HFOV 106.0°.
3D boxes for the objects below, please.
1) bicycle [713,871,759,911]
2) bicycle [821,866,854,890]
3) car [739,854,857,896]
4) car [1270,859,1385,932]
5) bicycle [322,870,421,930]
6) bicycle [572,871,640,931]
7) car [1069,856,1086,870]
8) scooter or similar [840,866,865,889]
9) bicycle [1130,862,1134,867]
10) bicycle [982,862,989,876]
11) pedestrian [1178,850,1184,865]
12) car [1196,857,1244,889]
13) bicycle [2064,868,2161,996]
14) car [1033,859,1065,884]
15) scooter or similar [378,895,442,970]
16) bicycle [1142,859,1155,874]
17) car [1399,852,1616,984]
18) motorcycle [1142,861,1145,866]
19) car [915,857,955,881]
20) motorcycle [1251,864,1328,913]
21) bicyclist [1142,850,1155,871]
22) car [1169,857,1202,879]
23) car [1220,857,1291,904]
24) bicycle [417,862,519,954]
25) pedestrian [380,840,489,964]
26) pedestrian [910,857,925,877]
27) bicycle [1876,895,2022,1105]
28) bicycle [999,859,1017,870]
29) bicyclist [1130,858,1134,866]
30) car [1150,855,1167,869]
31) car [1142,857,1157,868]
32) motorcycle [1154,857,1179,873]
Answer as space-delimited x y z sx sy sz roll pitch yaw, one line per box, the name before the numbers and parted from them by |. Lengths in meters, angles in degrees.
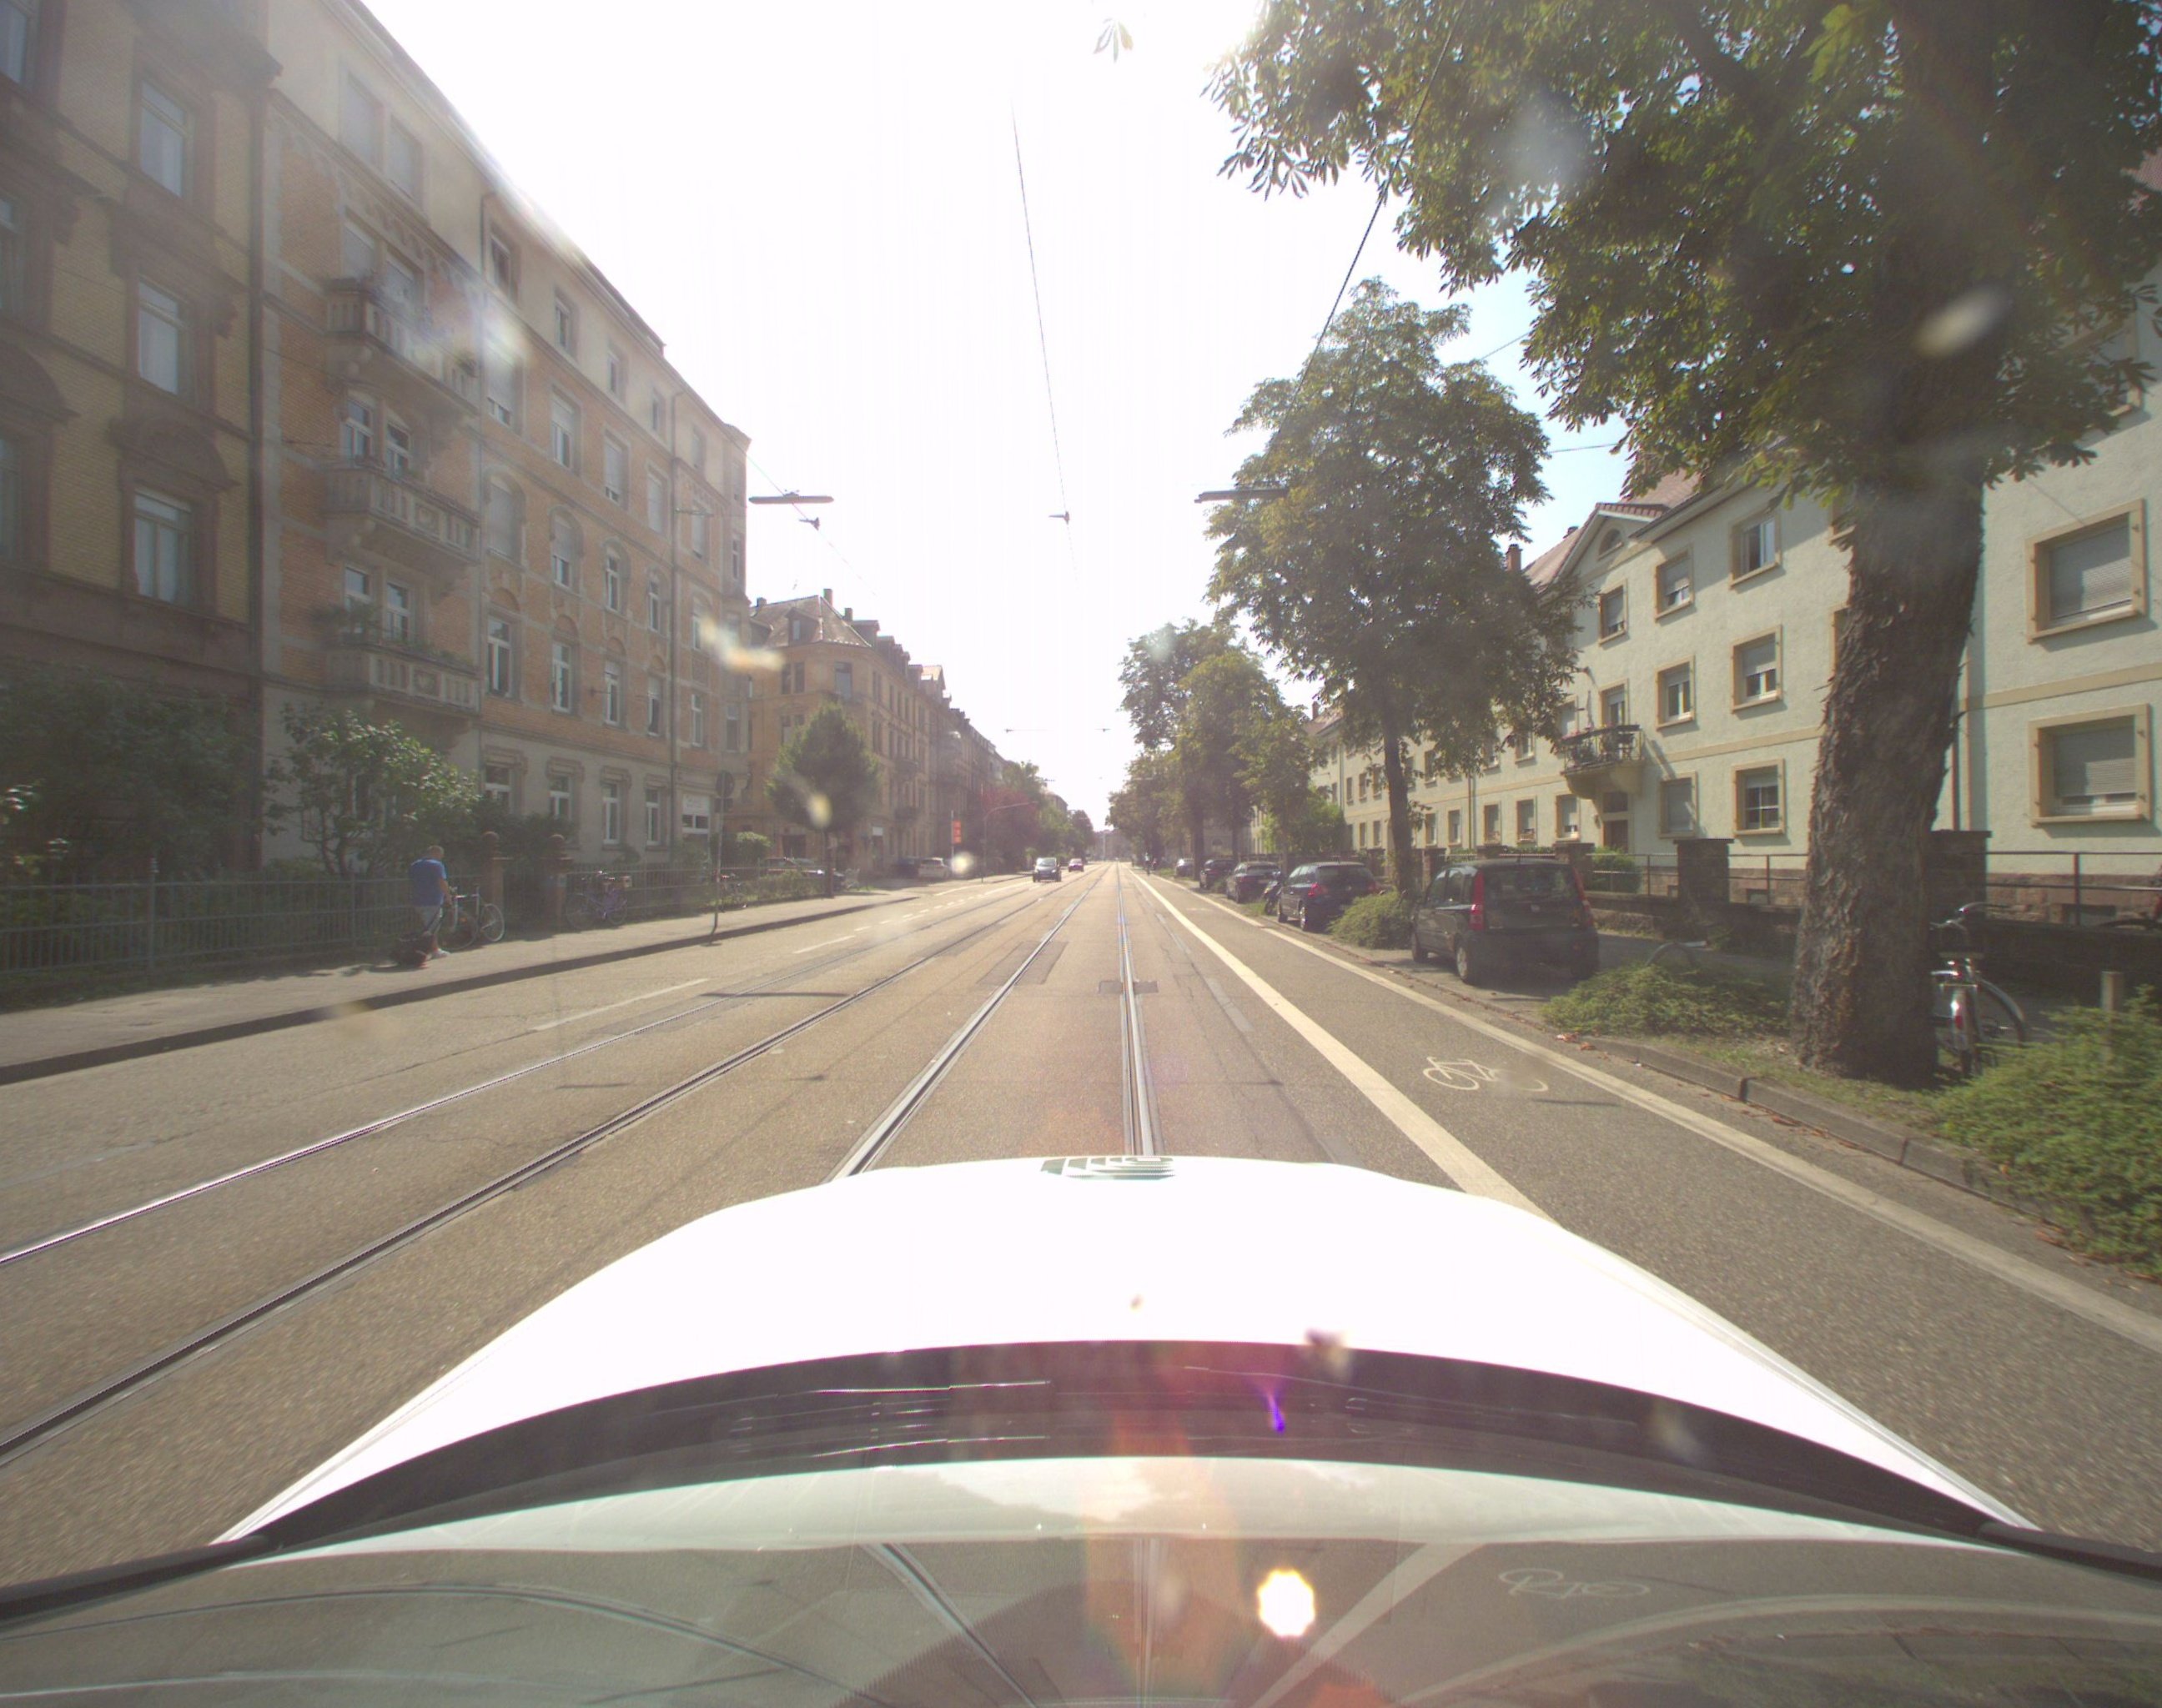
bicycle | -9.607 1.020 22.747 0.388 1.038 1.835 0 0 3
bicycle | -11.428 1.118 38.236 1.452 1.099 0.388 0 0 -21
car | -11.530 0.833 33.346 4.083 1.594 1.881 1 0 4
car | 5.636 0.880 19.096 1.610 1.477 4.042 -2 0 3
bicycle | -12.498 0.799 14.361 1.394 1.032 0.391 0 0 0
bicycle | -9.827 0.940 16.899 0.388 1.147 1.583 0 0 3
car | -0.375 1.038 94.482 1.725 1.490 4.002 -1 0 2
scooter or similar | -11.085 1.137 39.565 0.592 1.099 1.394 0 0 13
bicycle | 8.791 1.803 139.739 0.585 0.939 2.174 0 -1 5
bicycle | -7.642 1.188 65.020 0.389 1.099 1.568 0 0 0
pedestrian | 13.008 0.487 105.548 0.703 1.892 0.715 0 -1 4
car | 6.820 0.907 40.297 1.749 1.477 4.388 0 0 2
bicycle | 10.150 0.725 7.369 0.466 1.160 1.718 0 0 2
car | -2.094 1.129 54.459 1.820 1.540 4.002 -1 0 2
scooter or similar | -9.245 1.072 11.232 0.399 0.982 0.583 1 -1 -6
bicycle | 5.865 1.111 71.089 1.143 1.269 2.715 0 0 4
car | 5.665 0.765 11.291 1.607 1.530 3.508 -1 0 9
motorcycle | 12.860 1.991 167.092 0.546 1.068 2.332 0 -1 3
car | -9.931 0.989 55.649 1.988 1.594 4.357 0 0 -1
motorcycle | 5.990 0.991 23.442 1.997 1.368 0.782 0 0 -1
bicyclist | 5.848 0.565 70.895 1.120 1.837 0.956 0 -1 3
car | 7.471 0.989 58.586 1.885 1.477 4.843 0 0 2
car | 6.304 0.913 29.844 1.748 1.477 4.460 -4 -1 3
bicycle | -10.020 0.844 13.378 0.388 1.406 1.583 0 0 3
pedestrian | -9.477 0.681 11.969 0.880 1.756 0.870 0 0 2
pedestrian | -12.516 1.019 62.317 0.888 1.511 0.862 0 0 -29
bicycle | 5.429 0.839 5.076 1.398 1.108 0.385 0 -1 -34
bicycle | -7.816 1.129 87.351 1.804 1.182 0.717 1 -1 4
bicyclist | 8.785 1.400 139.736 0.576 1.279 0.472 0 -1 4
car | 9.288 0.917 97.688 1.833 1.532 4.117 -1 1 2
car | 9.576 1.153 114.497 1.833 1.532 4.782 -2 0 2
motorcycle | 8.617 1.078 81.806 2.317 1.540 0.974 -3 -3 43
